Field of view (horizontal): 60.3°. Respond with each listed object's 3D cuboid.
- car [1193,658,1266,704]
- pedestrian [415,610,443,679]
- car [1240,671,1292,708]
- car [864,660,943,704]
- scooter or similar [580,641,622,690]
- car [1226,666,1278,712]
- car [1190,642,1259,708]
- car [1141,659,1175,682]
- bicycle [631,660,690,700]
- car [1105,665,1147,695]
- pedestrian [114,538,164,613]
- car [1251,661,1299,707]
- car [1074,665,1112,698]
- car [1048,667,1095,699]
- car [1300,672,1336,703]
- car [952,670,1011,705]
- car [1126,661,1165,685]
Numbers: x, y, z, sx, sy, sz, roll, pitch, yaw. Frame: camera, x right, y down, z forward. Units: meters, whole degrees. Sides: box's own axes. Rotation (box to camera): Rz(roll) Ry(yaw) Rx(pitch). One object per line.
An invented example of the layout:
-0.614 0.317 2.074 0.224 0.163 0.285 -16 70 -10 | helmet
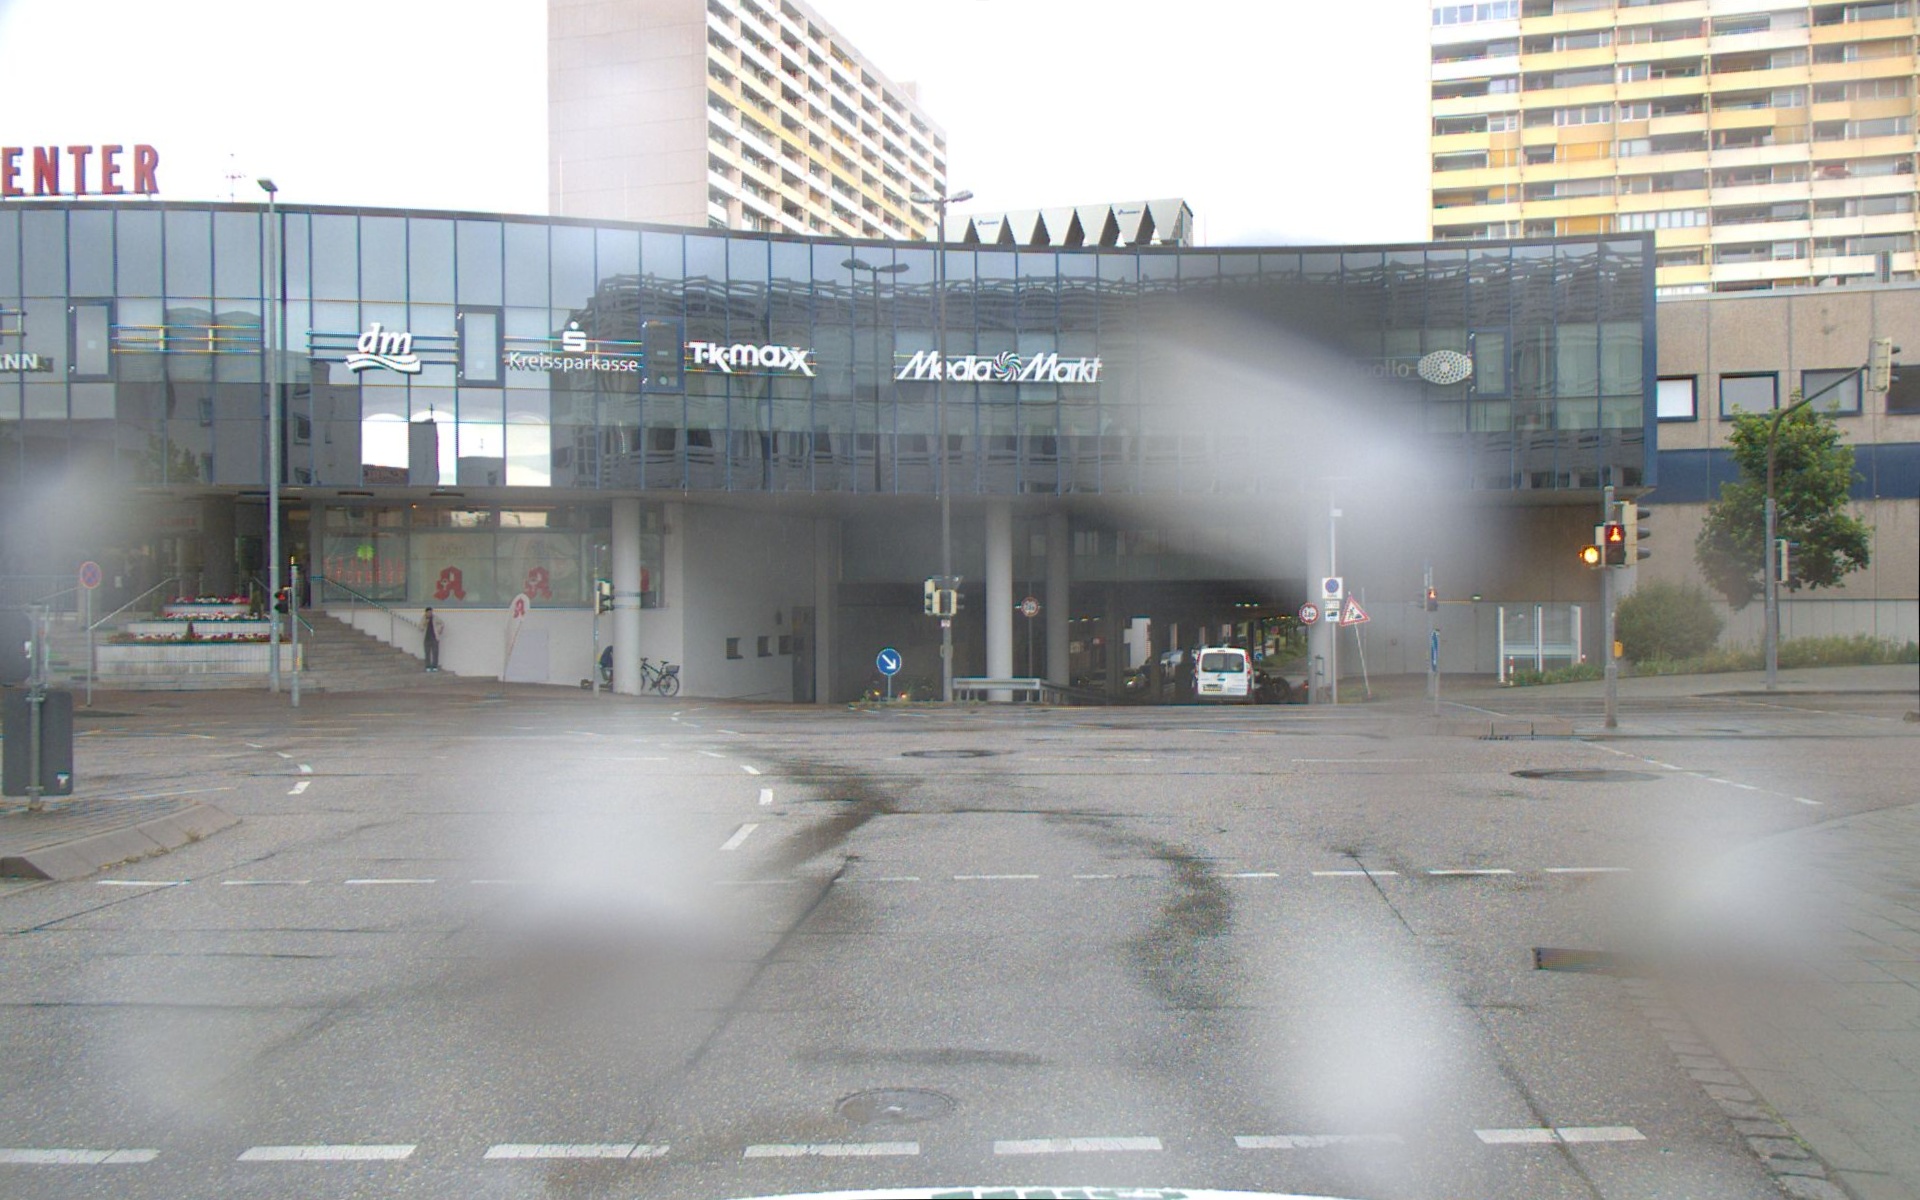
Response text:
9.237 2.788 56.445 1.721 1.490 3.943 -2 -4 20 | car
-15.002 1.261 46.752 0.643 1.942 0.593 1 -1 -9 | pedestrian
12.252 3.605 66.021 1.741 1.425 4.002 -1 -4 15 | car
-2.078 3.120 62.451 1.852 1.496 4.029 -1 -5 16 | car
-10.426 1.907 48.013 1.147 1.397 0.487 1 -1 -16 | scooter or similar
10.827 3.292 61.181 1.598 1.640 4.265 -2 -3 14 | car
7.827 2.185 48.709 1.884 1.829 4.299 -1 -2 10 | car
13.764 4.900 114.721 1.951 1.489 4.003 -1 -1 12 | car
-8.767 2.333 48.369 1.566 1.036 0.447 7 -4 -32 | bicycle
10.240 4.904 101.853 1.951 1.693 4.003 1 -1 15 | car
-22.907 -0.673 46.176 0.812 2.049 0.953 1 -1 7 | pedestrian
13.490 3.583 70.782 1.753 1.802 4.003 -1 -1 14 | car
7.769 4.709 96.202 1.797 1.758 4.003 -1 -1 11 | car
6.194 4.542 91.306 1.874 1.616 3.941 -1 -1 15 | car
19.748 4.786 91.117 1.847 1.517 3.844 1 -1 13 | car
1.003 3.929 74.374 1.733 1.490 3.878 -1 -3 15 | car
12.314 4.816 109.618 1.951 1.489 4.003 -1 -1 15 | car
